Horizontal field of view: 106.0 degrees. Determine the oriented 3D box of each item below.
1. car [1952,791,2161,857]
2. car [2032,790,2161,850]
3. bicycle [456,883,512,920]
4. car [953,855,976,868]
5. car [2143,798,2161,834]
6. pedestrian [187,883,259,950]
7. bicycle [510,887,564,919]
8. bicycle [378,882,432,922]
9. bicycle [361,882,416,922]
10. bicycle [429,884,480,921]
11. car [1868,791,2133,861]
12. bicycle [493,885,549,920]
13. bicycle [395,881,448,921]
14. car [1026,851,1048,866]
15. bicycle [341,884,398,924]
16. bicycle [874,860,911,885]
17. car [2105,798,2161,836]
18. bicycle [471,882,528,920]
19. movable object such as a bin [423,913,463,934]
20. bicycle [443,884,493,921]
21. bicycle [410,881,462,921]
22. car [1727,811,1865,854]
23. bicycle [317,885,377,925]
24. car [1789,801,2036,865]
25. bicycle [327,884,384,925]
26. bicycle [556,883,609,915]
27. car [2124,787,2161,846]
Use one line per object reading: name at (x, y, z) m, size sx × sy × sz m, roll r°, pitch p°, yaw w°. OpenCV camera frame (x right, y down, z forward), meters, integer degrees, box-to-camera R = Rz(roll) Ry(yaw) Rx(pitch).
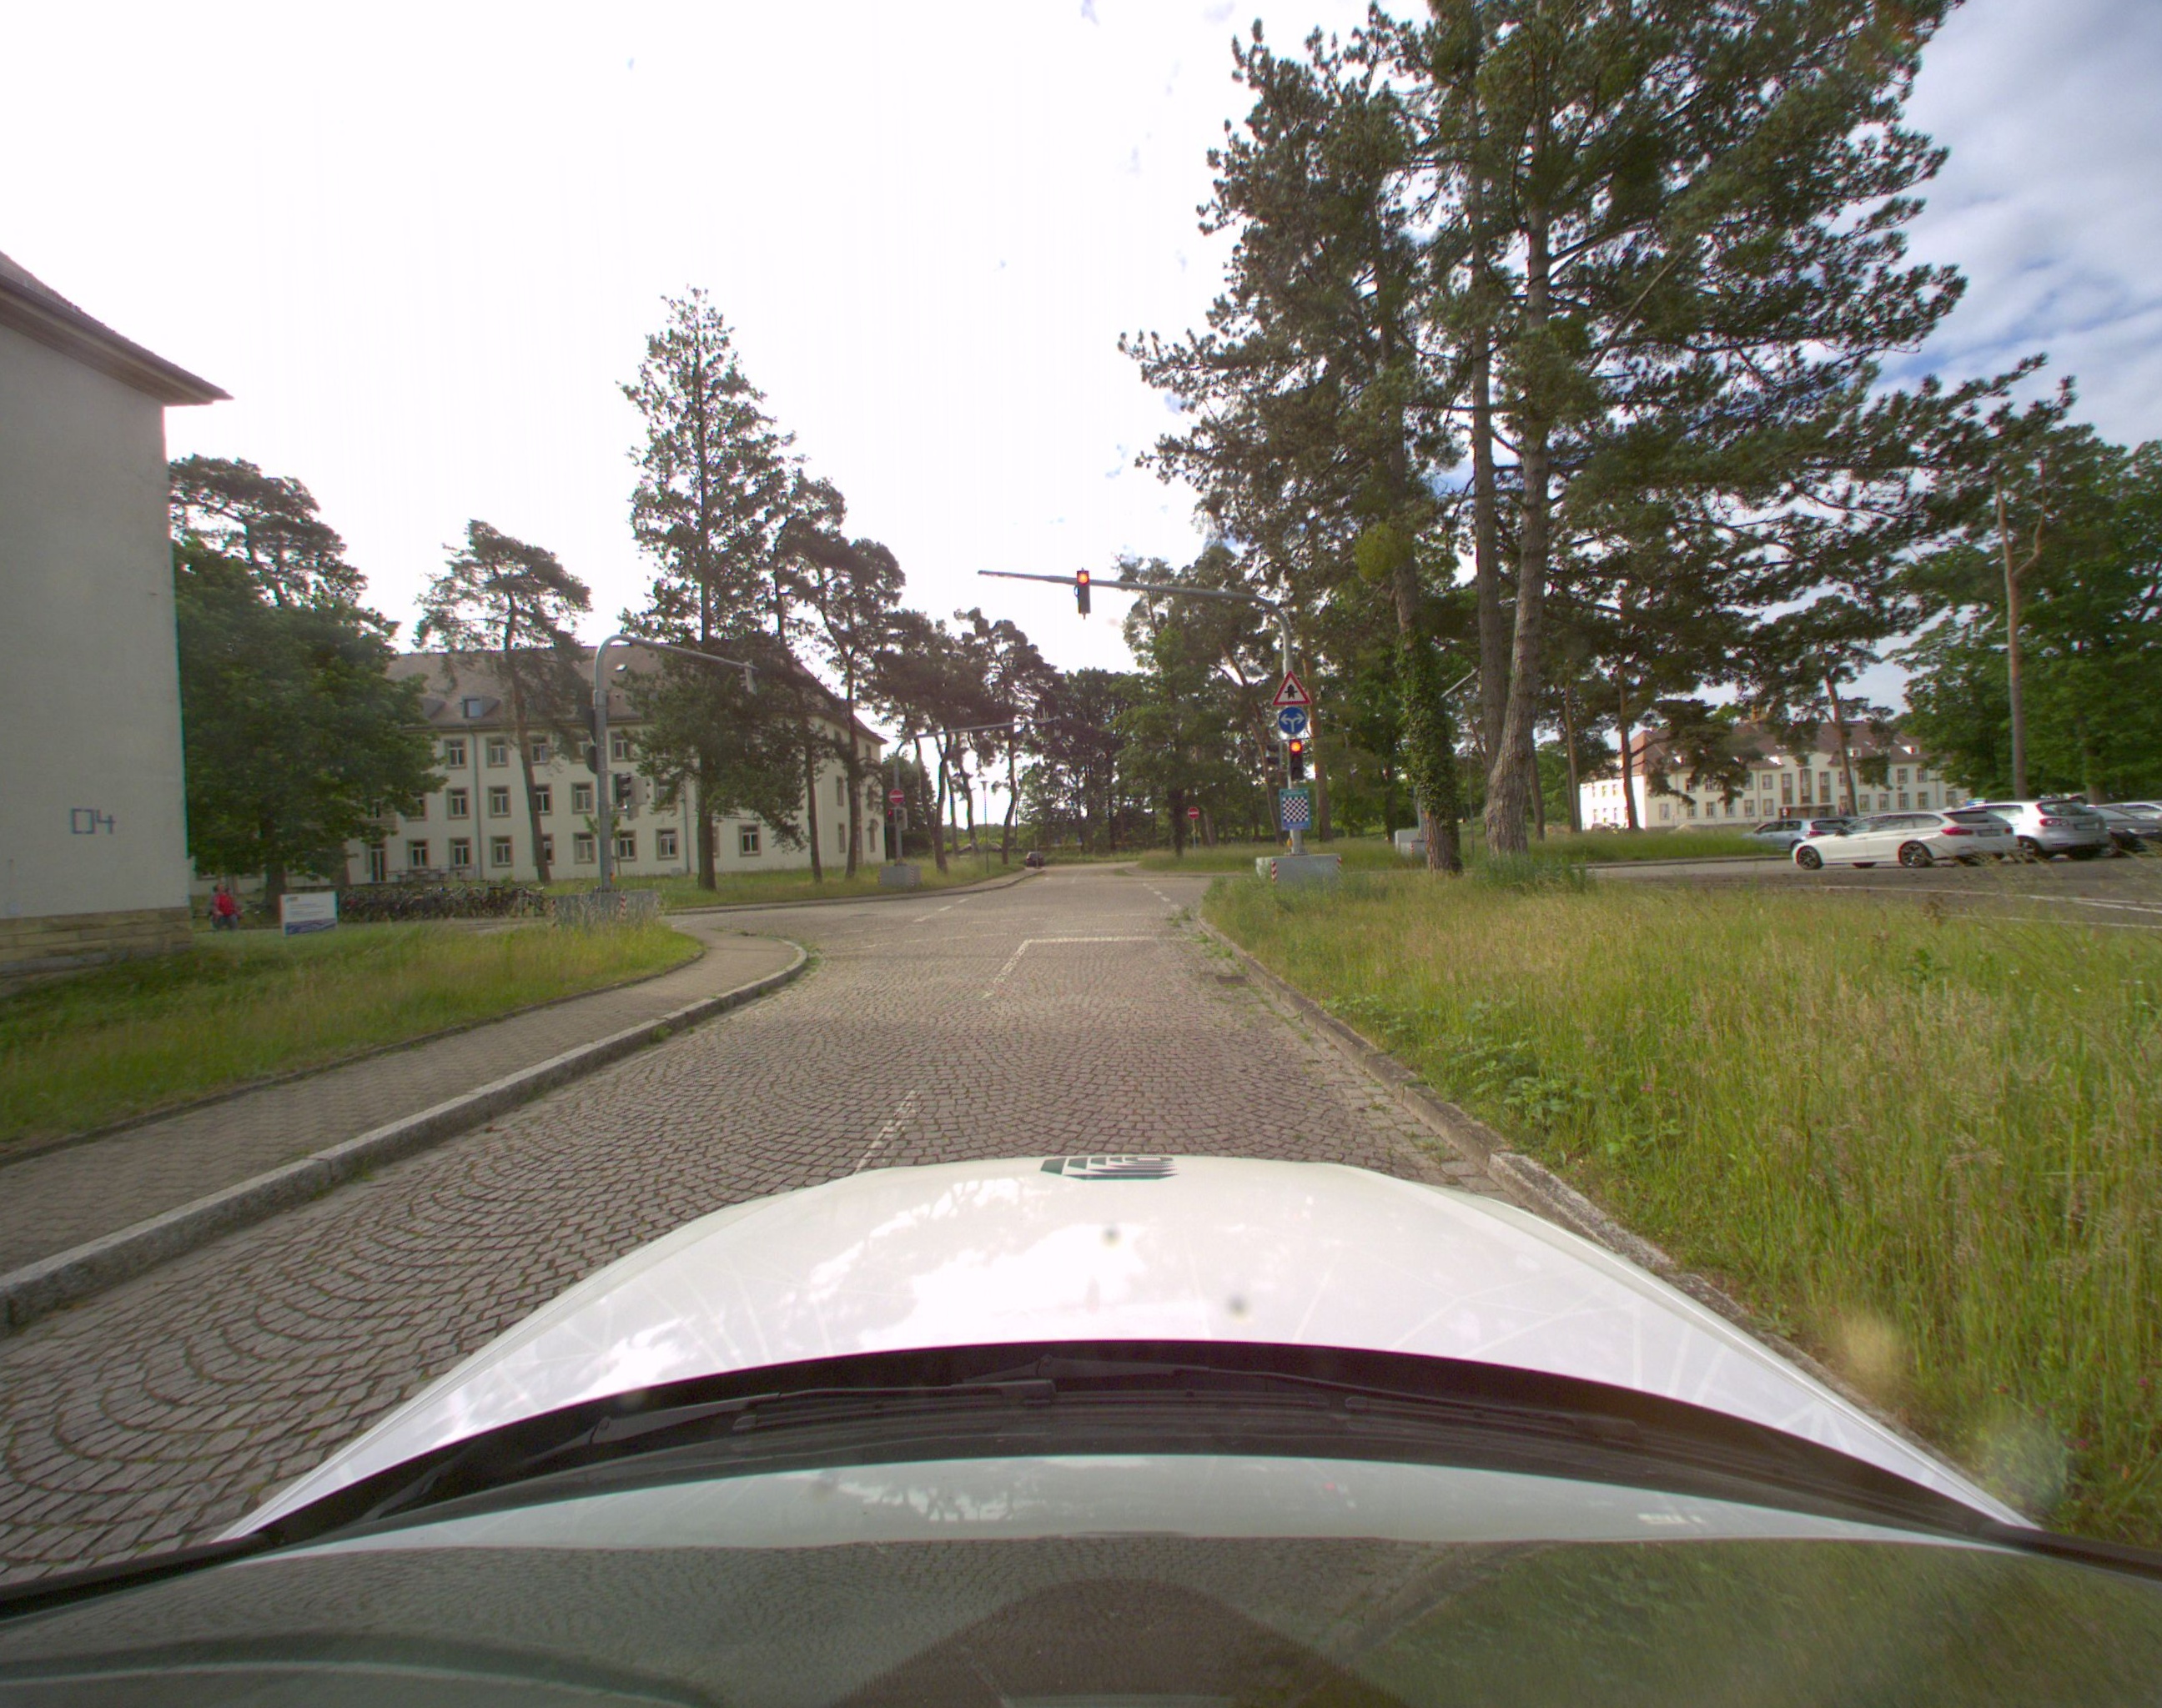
car at (26.592, -0.767, 21.719) m, size 1.862 × 1.577 × 4.444 m, roll -3°, pitch 0°, yaw -2°
car at (29.311, -0.947, 22.025) m, size 1.862 × 1.577 × 4.444 m, roll -3°, pitch 0°, yaw -2°
bicycle at (-21.164, 1.658, 28.908) m, size 0.526 × 1.178 × 1.930 m, roll -3°, pitch 0°, yaw 0°
car at (-12.284, 0.788, 85.782) m, size 1.682 × 1.156 × 4.002 m, roll -3°, pitch 0°, yaw 2°
car at (46.695, -1.640, 32.876) m, size 1.748 × 1.524 × 4.444 m, roll -3°, pitch 0°, yaw -2°
pedestrian at (-22.707, 1.636, 21.569) m, size 0.856 × 1.668 × 0.940 m, roll -2°, pitch 0°, yaw 1°
bicycle at (-18.363, 1.657, 27.506) m, size 1.454 × 0.996 × 0.452 m, roll -3°, pitch 0°, yaw 1°
bicycle at (-23.896, 1.671, 28.839) m, size 0.447 × 1.283 × 1.695 m, roll -3°, pitch 0°, yaw 0°
bicycle at (-24.459, 1.685, 28.813) m, size 0.447 × 1.283 × 1.695 m, roll -3°, pitch 0°, yaw 0°
bicycle at (-22.162, 1.682, 28.826) m, size 0.447 × 1.178 × 1.695 m, roll -3°, pitch 0°, yaw 0°
car at (23.913, -0.675, 21.486) m, size 1.862 × 1.577 × 4.444 m, roll -3°, pitch 0°, yaw -2°
bicycle at (-19.883, 1.693, 28.963) m, size 0.573 × 1.078 × 1.996 m, roll -3°, pitch 0°, yaw 0°
bicycle at (-23.381, 1.659, 28.885) m, size 0.447 × 1.283 × 1.695 m, roll -3°, pitch 0°, yaw 0°
car at (-4.539, 0.470, 84.807) m, size 1.986 × 1.508 × 4.002 m, roll -1°, pitch 0°, yaw 2°
bicycle at (-25.121, 1.754, 28.783) m, size 0.447 × 1.283 × 1.695 m, roll -3°, pitch 0°, yaw 0°
bicycle at (-8.064, 0.774, 34.943) m, size 1.457 × 0.996 × 0.451 m, roll -3°, pitch 0°, yaw -6°
car at (44.307, -1.537, 32.267) m, size 1.748 × 1.524 × 4.444 m, roll -3°, pitch 0°, yaw -2°
bicycle at (-20.580, 1.644, 28.866) m, size 0.573 × 1.178 × 1.953 m, roll -3°, pitch 0°, yaw 0°
movable object such as a bin at (-18.031, 1.967, 23.015) m, size 0.747 × 0.503 × 0.445 m, roll -3°, pitch 0°, yaw 1°
bicycle at (-21.676, 1.683, 28.848) m, size 0.447 × 1.178 × 1.695 m, roll -3°, pitch 0°, yaw 0°
bicycle at (-22.876, 1.647, 28.929) m, size 0.447 × 1.283 × 1.695 m, roll -3°, pitch 0°, yaw 0°
car at (28.716, -0.814, 32.932) m, size 1.745 × 1.524 × 4.450 m, roll -3°, pitch 0°, yaw 2°
bicycle at (-26.077, 1.777, 28.965) m, size 0.441 × 1.283 × 1.785 m, roll -3°, pitch 0°, yaw 0°
car at (21.339, -0.476, 21.215) m, size 1.748 × 1.415 × 4.443 m, roll -3°, pitch 0°, yaw -2°
bicycle at (-25.608, 1.765, 28.769) m, size 0.447 × 1.283 × 1.695 m, roll -3°, pitch 0°, yaw 0°
bicycle at (-16.840, 1.528, 27.535) m, size 1.454 × 0.996 × 0.452 m, roll -3°, pitch 0°, yaw 1°
car at (31.920, -1.120, 21.936) m, size 1.862 × 1.686 × 4.444 m, roll -3°, pitch 0°, yaw -2°
